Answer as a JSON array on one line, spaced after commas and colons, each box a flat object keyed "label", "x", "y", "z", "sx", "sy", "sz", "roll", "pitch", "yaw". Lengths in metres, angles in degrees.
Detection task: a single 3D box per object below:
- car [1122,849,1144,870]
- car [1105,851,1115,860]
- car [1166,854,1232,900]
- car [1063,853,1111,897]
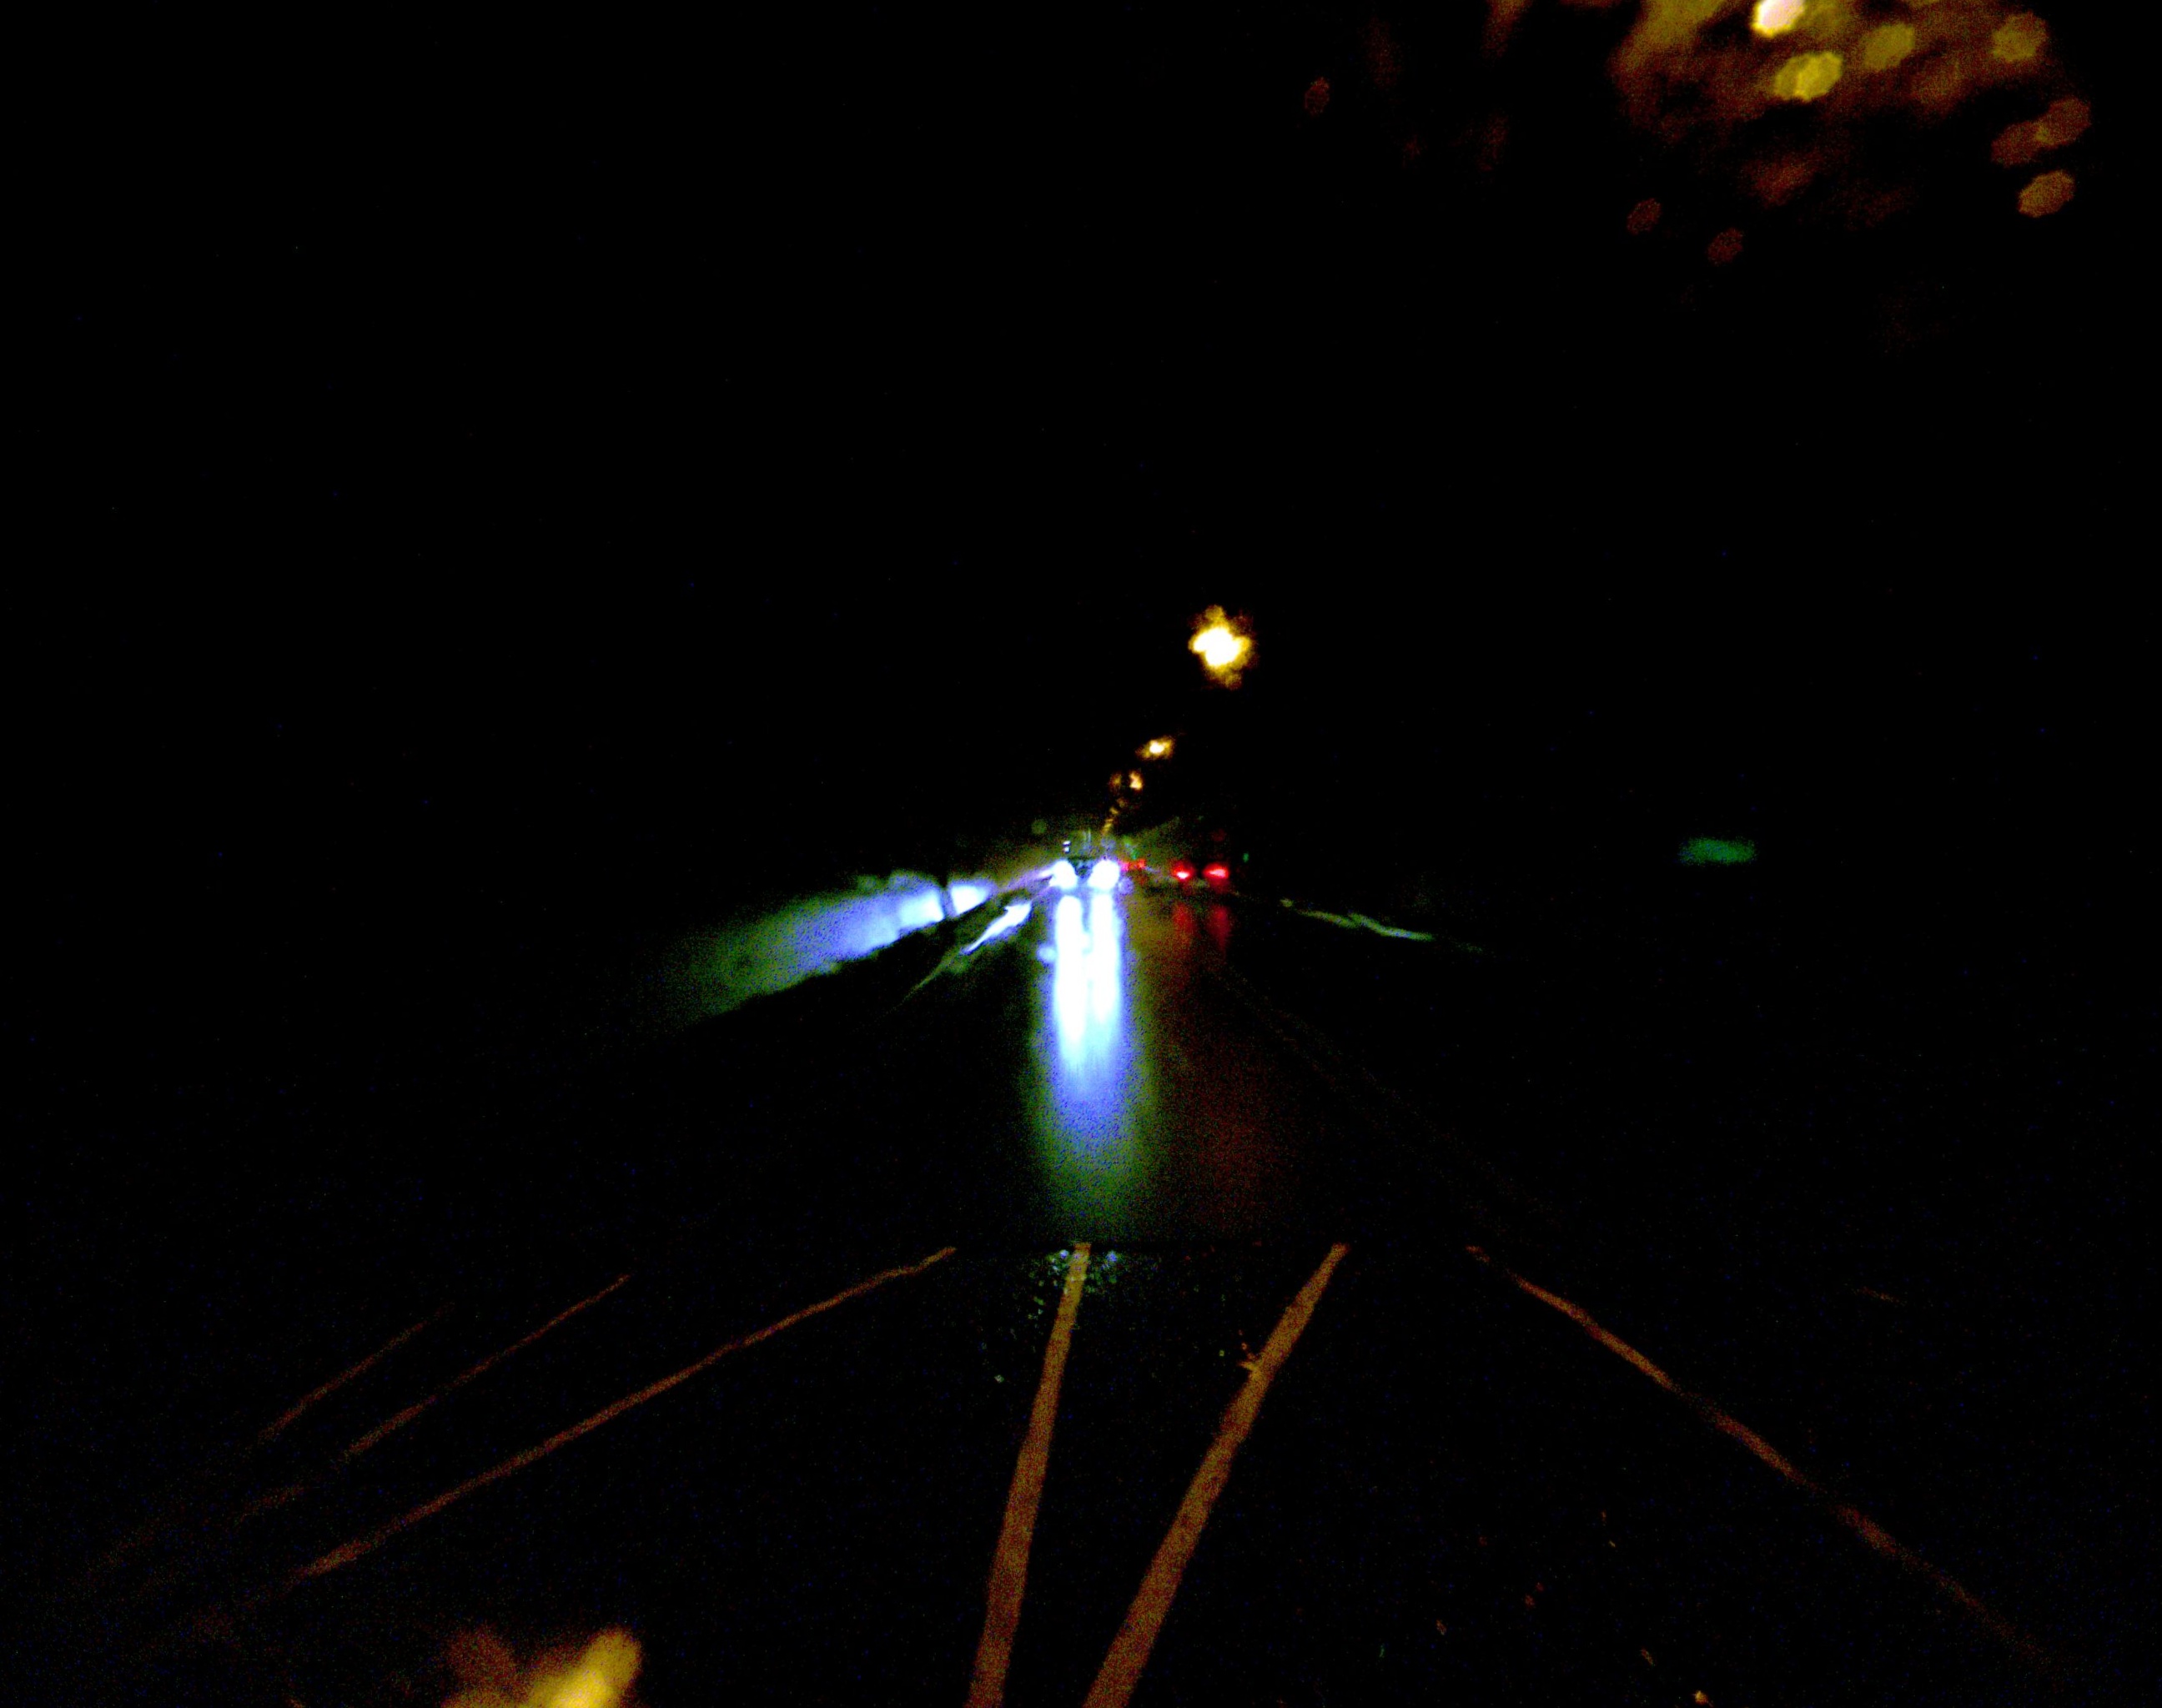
[{"label": "car", "x": 4.298, "y": 0.392, "z": 62.778, "sx": 1.573, "sy": 1.622, "sz": 3.729, "roll": -2, "pitch": 0, "yaw": 1}, {"label": "car", "x": 5.357, "y": 0.240, "z": 141.143, "sx": 1.602, "sy": 1.604, "sz": 3.995, "roll": -3, "pitch": 0, "yaw": 1}, {"label": "car", "x": 4.148, "y": 0.762, "z": 27.166, "sx": 1.739, "sy": 1.433, "sz": 3.836, "roll": -4, "pitch": 0, "yaw": 1}, {"label": "car", "x": 0.282, "y": 0.818, "z": 32.049, "sx": 1.829, "sy": 1.650, "sz": 3.929, "roll": -3, "pitch": 0, "yaw": 1}]
